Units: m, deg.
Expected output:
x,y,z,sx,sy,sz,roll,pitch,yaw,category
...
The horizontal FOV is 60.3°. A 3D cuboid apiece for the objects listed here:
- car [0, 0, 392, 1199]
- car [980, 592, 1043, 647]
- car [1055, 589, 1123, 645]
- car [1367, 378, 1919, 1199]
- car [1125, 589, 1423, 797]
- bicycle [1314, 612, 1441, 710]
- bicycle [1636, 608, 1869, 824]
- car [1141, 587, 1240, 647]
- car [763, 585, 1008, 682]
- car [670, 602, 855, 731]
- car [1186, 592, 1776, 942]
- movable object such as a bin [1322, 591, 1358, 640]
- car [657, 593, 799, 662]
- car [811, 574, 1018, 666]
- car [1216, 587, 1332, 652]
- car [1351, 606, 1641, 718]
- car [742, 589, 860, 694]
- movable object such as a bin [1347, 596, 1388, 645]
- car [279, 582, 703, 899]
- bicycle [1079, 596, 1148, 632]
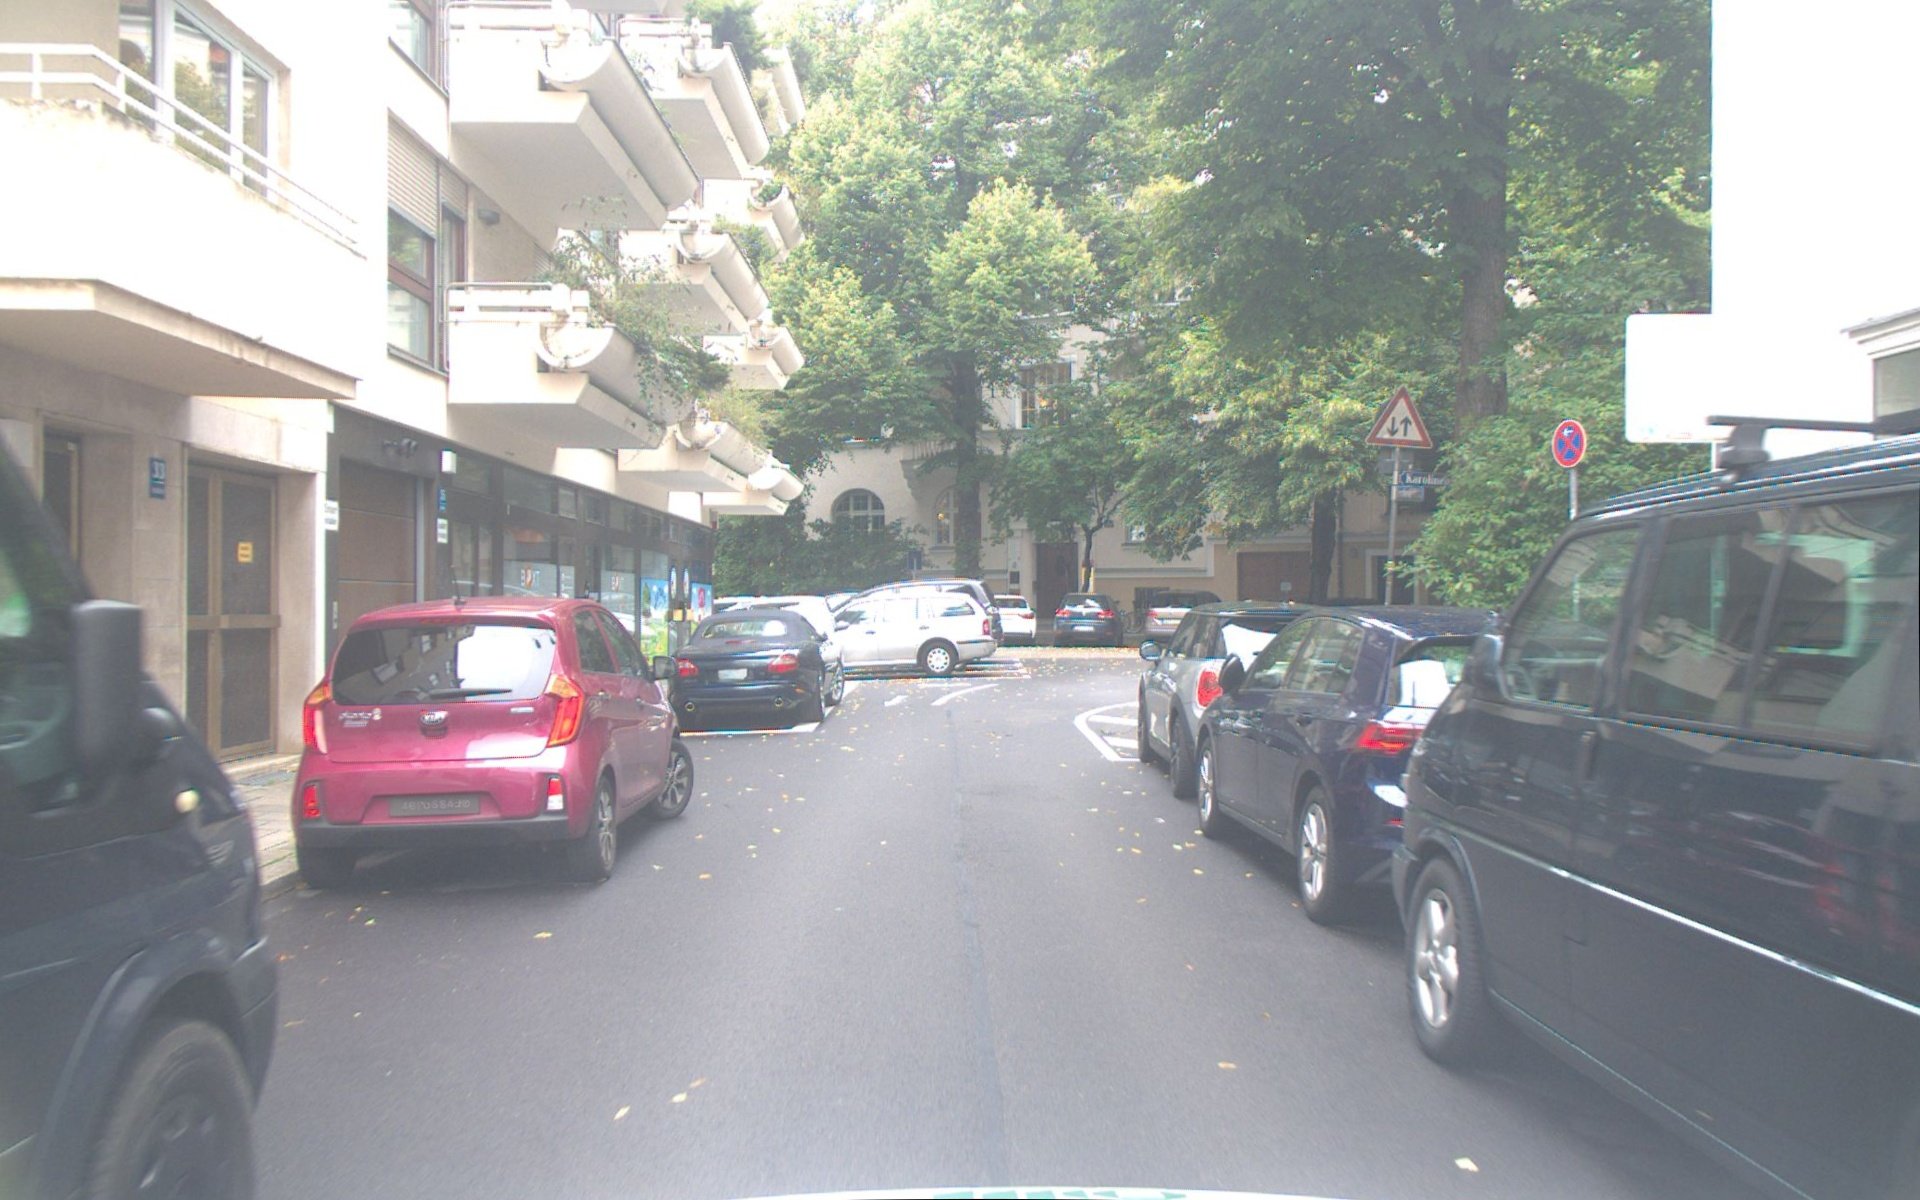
x,y,z,sx,sy,sz,roll,pitch,yaw,category
-2.285,0.294,1.050,1.977,2.318,5.389,-2,0,-1,car
1.438,0.513,46.629,1.683,1.456,4.001,1,0,1,car
3.575,0.451,45.464,1.753,1.456,4.003,1,0,6,car
2.515,0.539,3.876,1.836,1.822,4.780,0,0,-2,car
2.435,0.662,13.769,1.707,1.466,4.000,0,0,0,car
5.193,0.737,20.523,1.753,1.157,0.547,0,0,-36,bicycle
5.042,0.687,10.658,0.548,1.241,1.917,1,0,-1,bicycle
6.323,0.450,45.064,1.801,1.557,4.025,0,0,21,car
-1.299,0.571,29.337,4.142,1.480,1.721,-3,0,-2,car
-2.285,0.722,20.195,1.760,1.300,4.615,-2,0,-1,car
2.469,0.697,8.964,1.796,1.444,4.057,0,0,-2,car
10.889,0.437,47.368,0.699,1.371,1.372,0,0,26,movable object such as a bin
-5.757,0.660,41.007,3.240,1.659,1.501,0,0,-21,car
-0.958,0.403,34.596,4.136,1.713,1.901,-2,0,-3,car
8.172,0.539,42.760,1.672,1.492,4.281,2,-1,29,car
7.406,0.798,23.424,1.918,1.401,4.722,0,0,-10,car
-2.396,0.586,25.607,1.529,1.446,3.832,-2,0,-2,car
11.527,0.578,46.733,0.845,1.328,1.431,2,1,25,movable object such as a bin
-2.570,0.683,9.914,1.587,1.522,3.707,0,0,-2,car
5.027,0.443,54.240,2.186,1.135,0.576,1,0,28,bicycle
